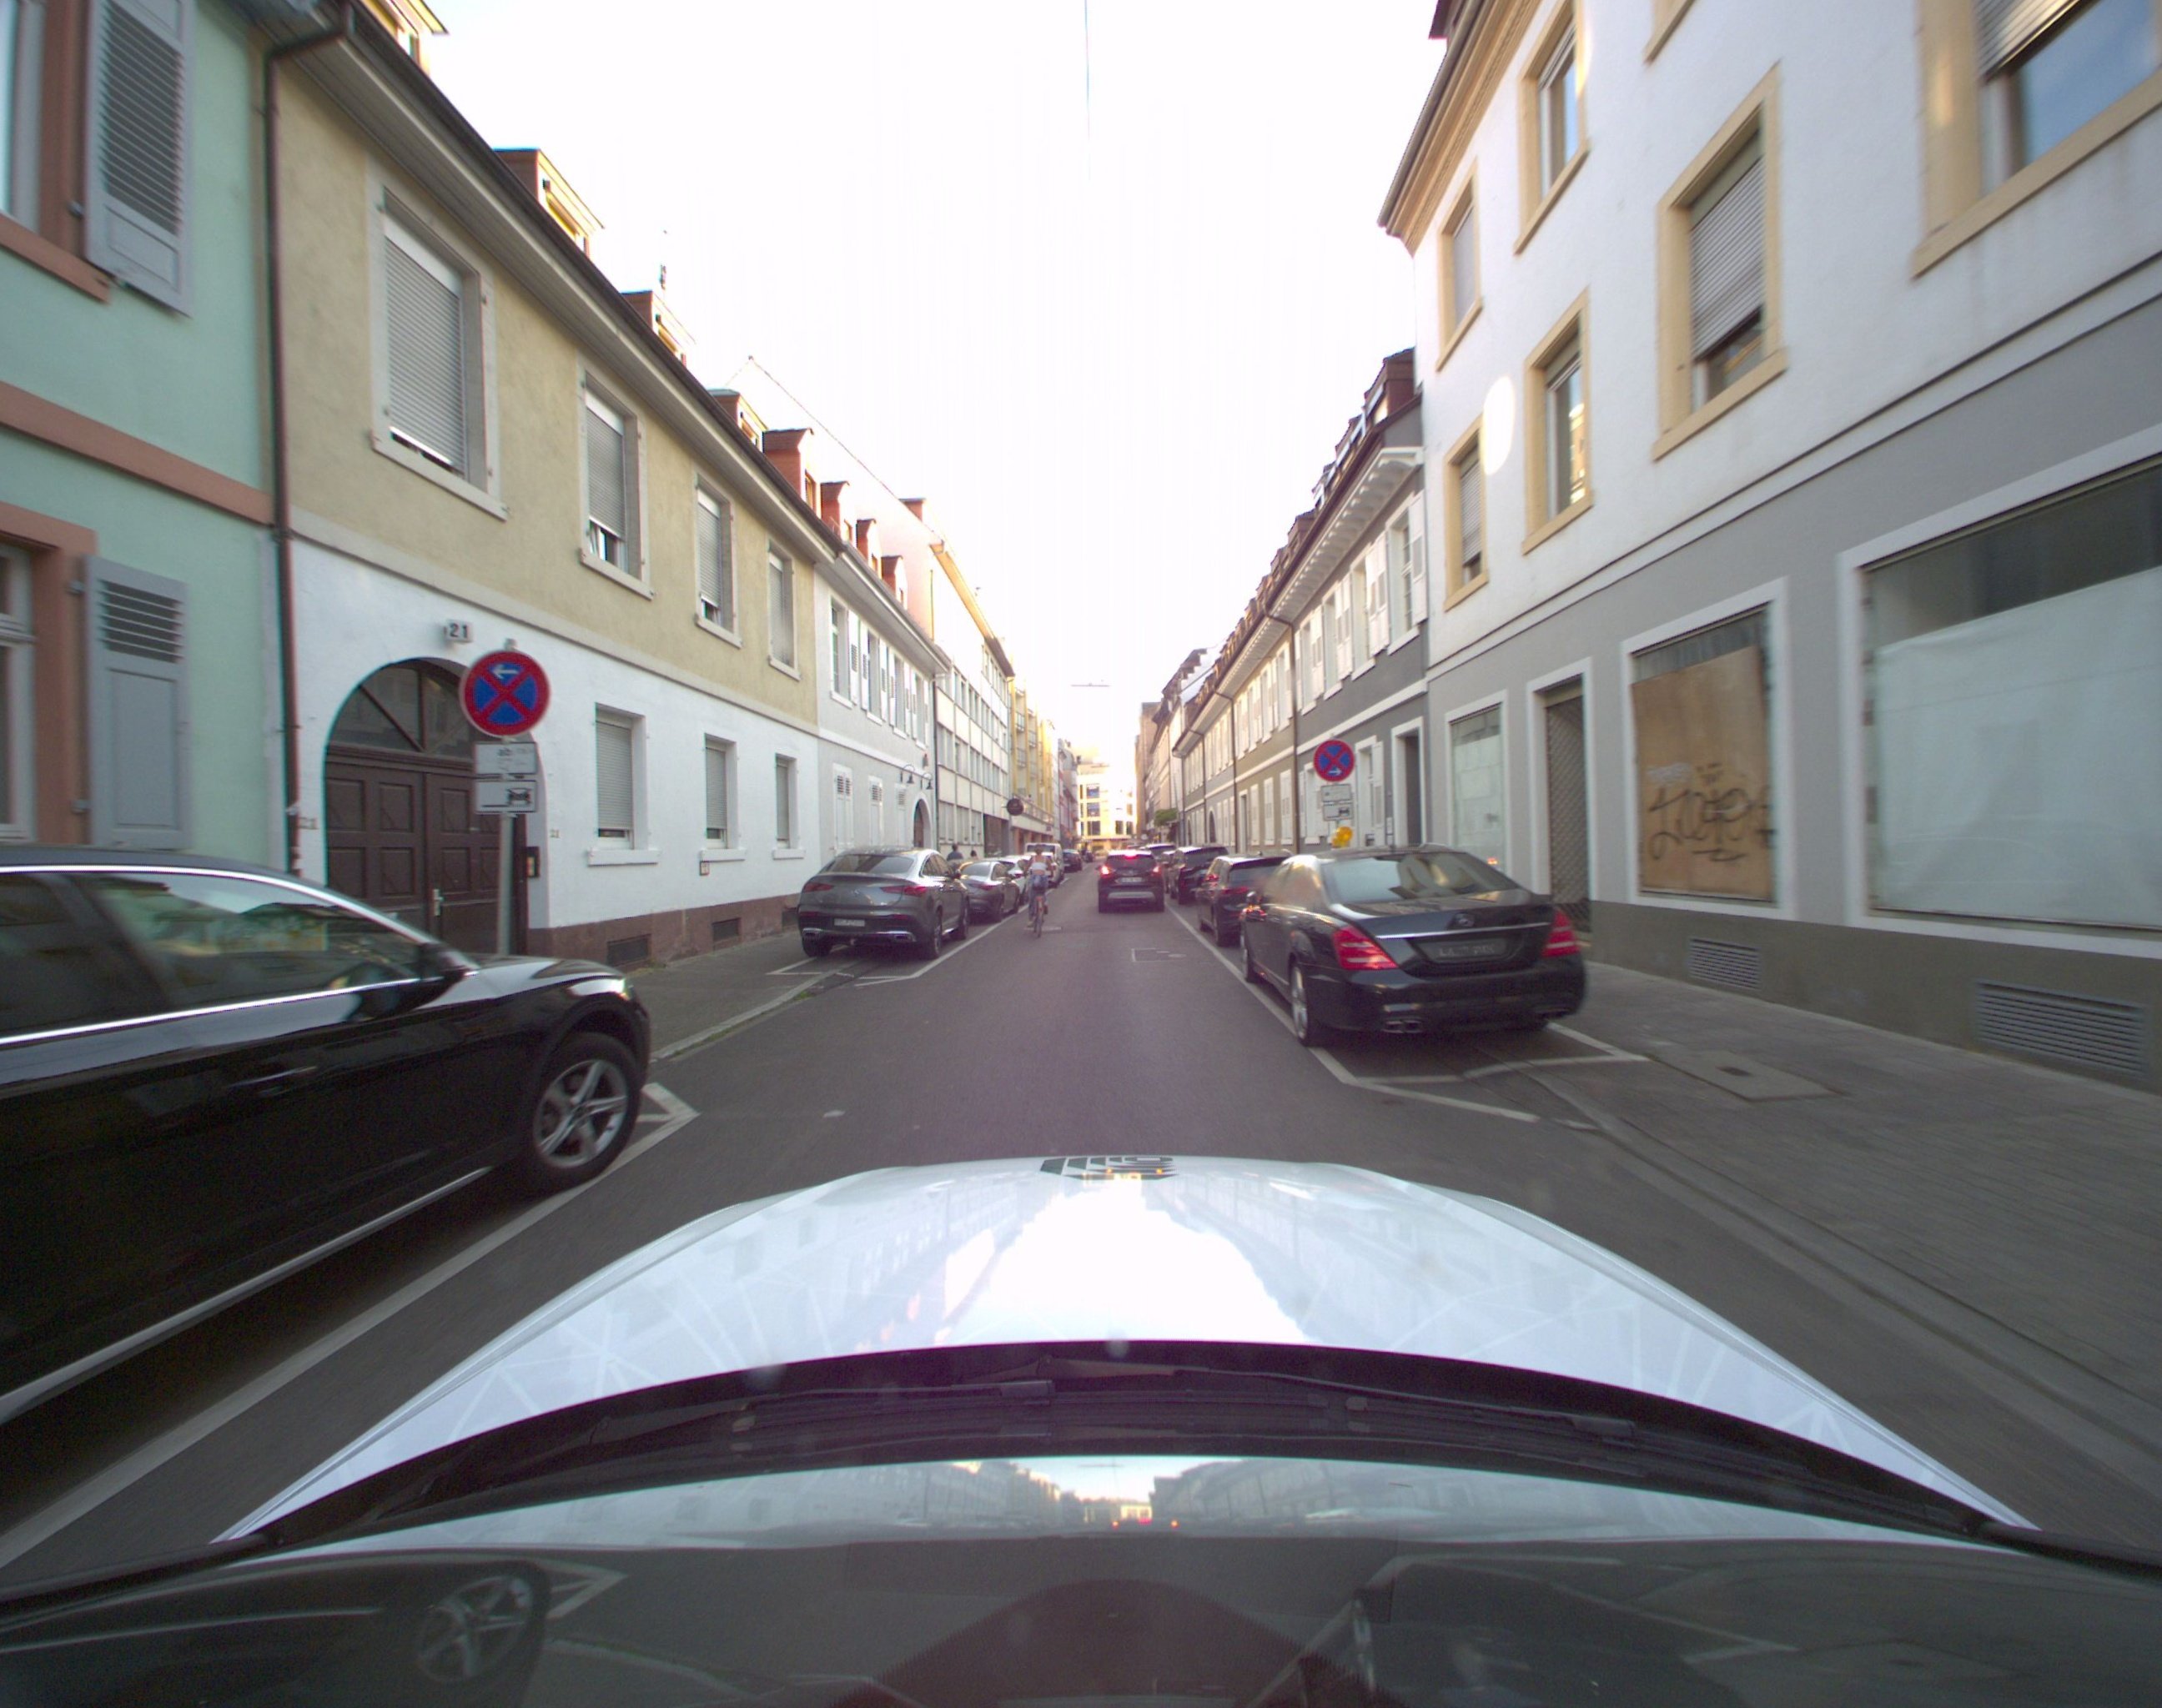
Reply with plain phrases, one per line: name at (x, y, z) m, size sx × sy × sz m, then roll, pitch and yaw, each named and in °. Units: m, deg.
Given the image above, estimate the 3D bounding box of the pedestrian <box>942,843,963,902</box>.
pedestrian at (-4.491, 0.638, 28.519) m, size 0.608 × 2.013 × 0.450 m, roll -1°, pitch 0°, yaw -1°

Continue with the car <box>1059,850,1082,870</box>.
car at (-0.791, 0.447, 64.324) m, size 1.647 × 1.561 × 3.608 m, roll -1°, pitch 0°, yaw 2°

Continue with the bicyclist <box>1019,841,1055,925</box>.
bicyclist at (-0.844, 0.553, 15.855) m, size 0.619 × 1.574 × 0.683 m, roll -1°, pitch 0°, yaw 0°

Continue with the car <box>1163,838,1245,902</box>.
car at (3.594, 0.431, 24.544) m, size 1.911 × 1.738 × 4.154 m, roll -1°, pitch 0°, yaw 1°

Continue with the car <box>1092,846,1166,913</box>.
car at (1.238, 0.618, 22.048) m, size 1.813 × 1.618 × 4.002 m, roll -1°, pitch 0°, yaw 2°

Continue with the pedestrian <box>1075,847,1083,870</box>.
pedestrian at (-0.170, 0.367, 62.860) m, size 0.552 × 1.752 × 0.568 m, roll -1°, pitch 0°, yaw -1°

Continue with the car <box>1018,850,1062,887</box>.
car at (-1.787, 0.595, 36.494) m, size 1.647 × 1.561 × 3.608 m, roll -1°, pitch 0°, yaw 2°

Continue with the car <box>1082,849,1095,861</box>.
car at (1.025, 0.078, 111.154) m, size 1.647 × 1.561 × 3.608 m, roll -1°, pitch 0°, yaw 2°

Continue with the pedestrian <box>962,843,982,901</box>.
pedestrian at (-3.804, 0.622, 28.411) m, size 0.608 × 2.013 × 0.450 m, roll -1°, pitch 0°, yaw -1°

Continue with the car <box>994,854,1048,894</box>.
car at (-2.264, 0.743, 31.523) m, size 1.647 × 1.411 × 3.608 m, roll -1°, pitch 0°, yaw 2°

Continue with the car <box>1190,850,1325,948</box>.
car at (2.960, 0.675, 14.453) m, size 1.669 × 1.486 × 4.002 m, roll -1°, pitch 0°, yaw 2°

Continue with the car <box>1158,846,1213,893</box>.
car at (3.696, 0.517, 29.298) m, size 1.647 × 1.561 × 3.608 m, roll -1°, pitch 0°, yaw 2°

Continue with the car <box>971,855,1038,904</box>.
car at (-2.399, 0.767, 26.431) m, size 1.647 × 1.411 × 3.905 m, roll -1°, pitch 0°, yaw 2°

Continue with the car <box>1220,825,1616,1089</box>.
car at (2.569, 0.651, 7.724) m, size 1.812 × 1.530 × 5.076 m, roll -5°, pitch 0°, yaw 3°

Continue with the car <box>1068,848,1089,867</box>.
car at (-0.158, 0.269, 70.005) m, size 1.647 × 1.561 × 3.608 m, roll -1°, pitch 0°, yaw 2°

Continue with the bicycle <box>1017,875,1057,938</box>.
bicycle at (-0.837, 0.990, 15.853) m, size 0.611 × 1.082 × 1.810 m, roll -1°, pitch 0°, yaw 1°

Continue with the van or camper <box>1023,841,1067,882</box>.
van or camper at (-1.804, 0.342, 42.346) m, size 1.837 × 2.013 × 4.681 m, roll -1°, pitch 0°, yaw 2°

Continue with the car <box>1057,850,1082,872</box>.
car at (-0.813, 0.465, 59.015) m, size 1.647 × 1.561 × 3.608 m, roll -1°, pitch 0°, yaw 2°

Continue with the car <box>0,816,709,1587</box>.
car at (-3.227, 0.778, 2.538) m, size 1.795 × 1.676 × 4.494 m, roll -2°, pitch 0°, yaw 3°

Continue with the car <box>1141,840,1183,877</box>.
car at (3.618, 0.189, 36.895) m, size 1.647 × 1.561 × 3.608 m, roll -1°, pitch 0°, yaw 2°

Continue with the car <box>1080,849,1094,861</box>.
car at (0.821, 0.112, 104.384) m, size 1.647 × 1.561 × 3.608 m, roll -1°, pitch 0°, yaw 2°

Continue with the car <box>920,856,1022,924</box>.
car at (-2.588, 0.802, 20.151) m, size 1.911 × 1.434 × 4.293 m, roll -1°, pitch 0°, yaw 0°

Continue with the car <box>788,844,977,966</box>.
car at (-3.083, 0.703, 13.721) m, size 1.991 × 1.707 × 4.536 m, roll -1°, pitch 0°, yaw 1°
